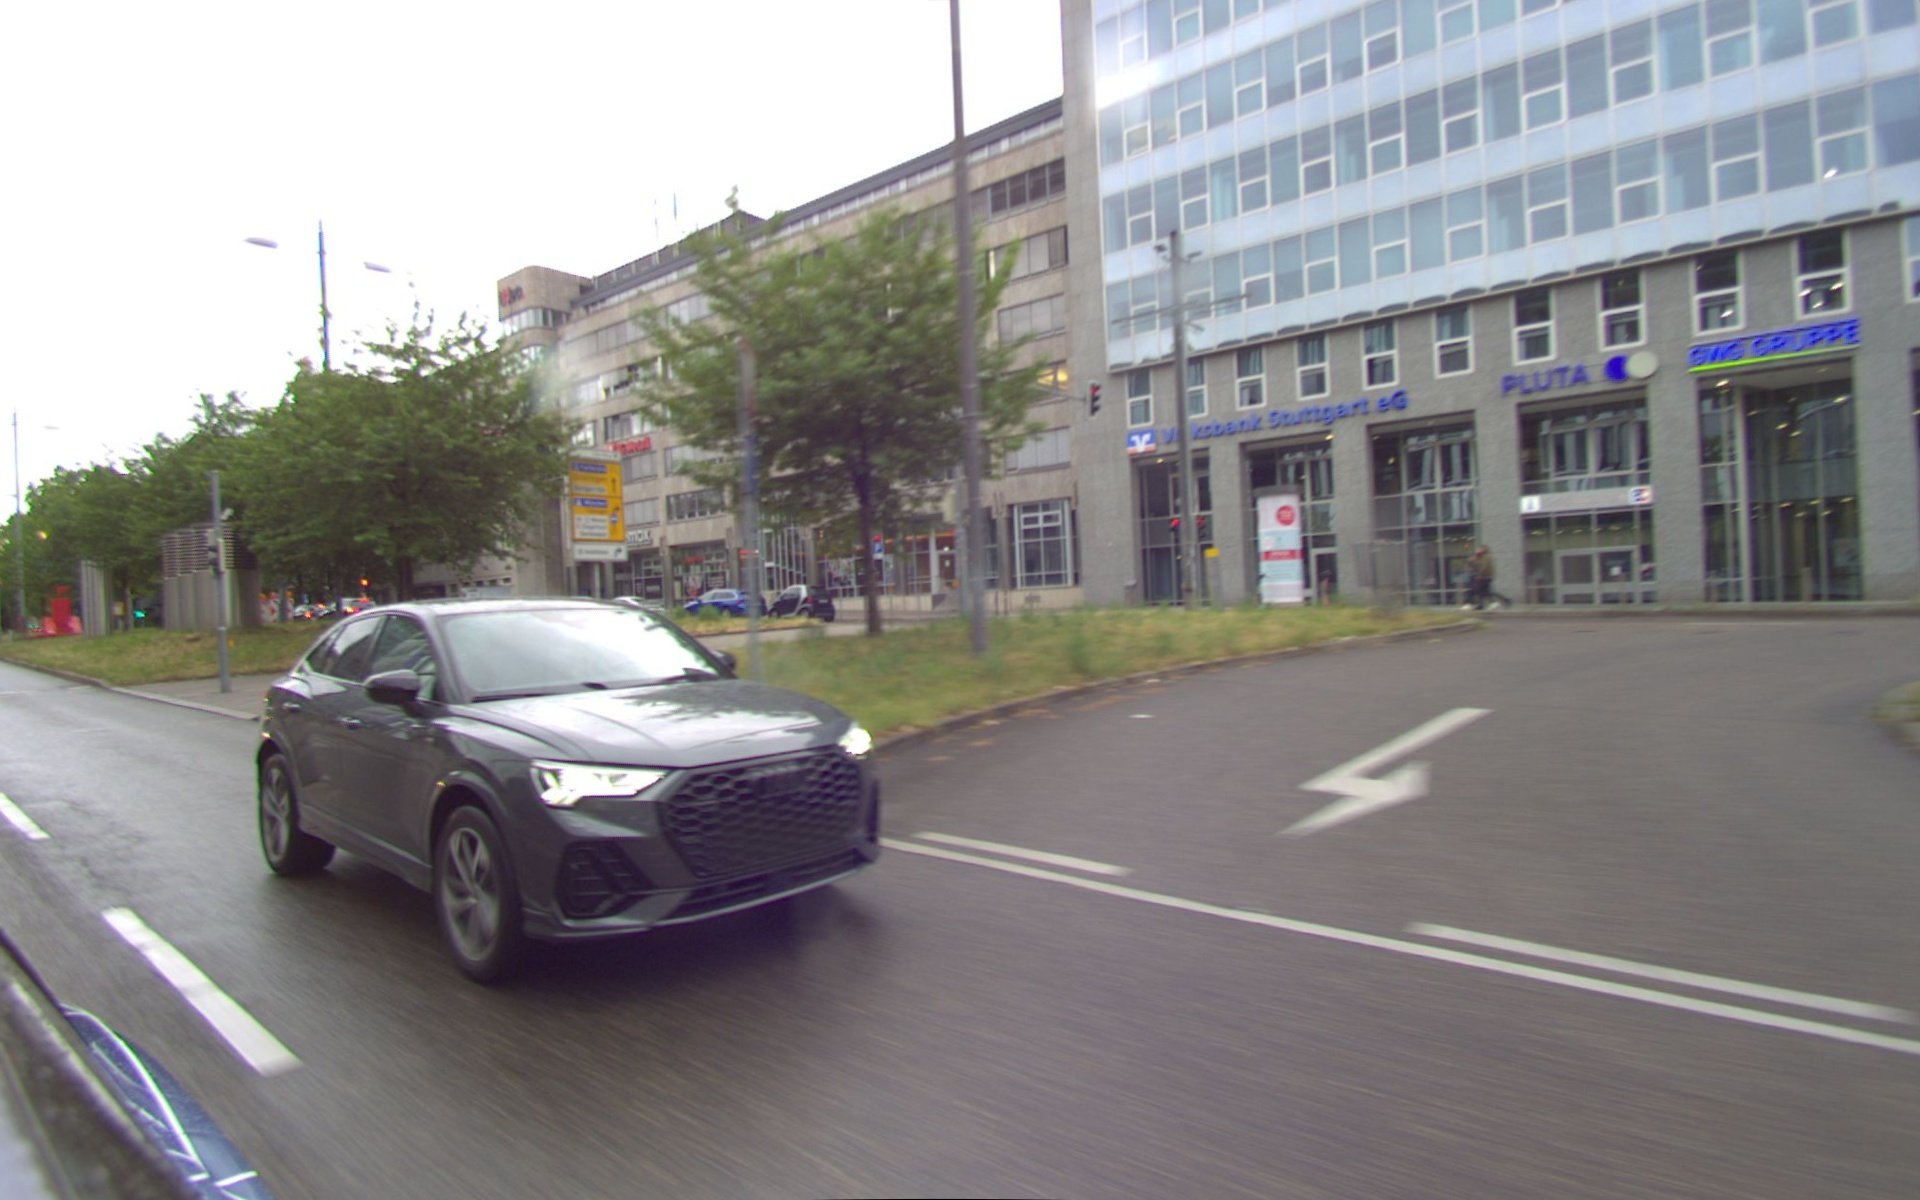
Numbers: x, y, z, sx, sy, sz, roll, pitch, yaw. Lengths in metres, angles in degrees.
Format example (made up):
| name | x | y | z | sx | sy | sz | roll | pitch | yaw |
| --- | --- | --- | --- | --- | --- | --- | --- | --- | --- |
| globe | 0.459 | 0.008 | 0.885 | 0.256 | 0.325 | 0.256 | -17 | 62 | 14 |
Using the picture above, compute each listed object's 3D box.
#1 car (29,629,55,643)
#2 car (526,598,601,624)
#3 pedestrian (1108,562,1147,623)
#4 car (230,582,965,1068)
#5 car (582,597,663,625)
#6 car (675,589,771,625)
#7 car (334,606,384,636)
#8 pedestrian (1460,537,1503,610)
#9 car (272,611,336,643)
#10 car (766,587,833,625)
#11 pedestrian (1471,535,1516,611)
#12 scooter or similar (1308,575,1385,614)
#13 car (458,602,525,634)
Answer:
| name | x | y | z | sx | sy | sz | roll | pitch | yaw |
| --- | --- | --- | --- | --- | --- | --- | --- | --- | --- |
| car | -122.957 | 4.808 | 135.542 | 4.105 | 1.599 | 2.046 | -2 | 2 | 41 |
| car | -20.239 | 0.549 | 51.613 | 4.100 | 1.130 | 1.557 | -2 | 2 | 37 |
| pedestrian | 5.332 | -0.229 | 32.197 | 0.928 | 1.895 | 0.950 | -1 | 0 | 28 |
| car | -2.213 | 0.754 | 5.387 | 4.344 | 1.529 | 1.841 | -2 | 0 | 42 |
| car | -16.117 | 0.523 | 48.240 | 4.100 | 1.130 | 1.557 | -2 | 2 | 37 |
| car | -10.478 | 0.336 | 44.601 | 4.313 | 1.395 | 1.660 | -2 | 2 | 37 |
| car | -30.877 | 1.083 | 52.012 | 2.625 | 1.395 | 1.394 | -2 | 2 | 41 |
| pedestrian | 14.927 | -0.737 | 28.987 | 1.030 | 2.029 | 0.844 | -1 | 0 | 28 |
| car | -36.528 | 1.522 | 56.343 | 4.105 | 1.592 | 1.856 | -2 | 2 | 41 |
| car | -6.606 | 0.255 | 41.524 | 2.625 | 1.395 | 1.227 | -2 | 2 | 41 |
| pedestrian | 14.742 | -0.732 | 27.973 | 1.030 | 2.029 | 1.046 | -1 | 0 | 28 |
| scooter or similar | 12.780 | -0.187 | 33.503 | 2.243 | 1.222 | 0.765 | -2 | 0 | 38 |
| car | -26.258 | 1.008 | 56.682 | 4.100 | 1.592 | 1.557 | -2 | 2 | 37 |
